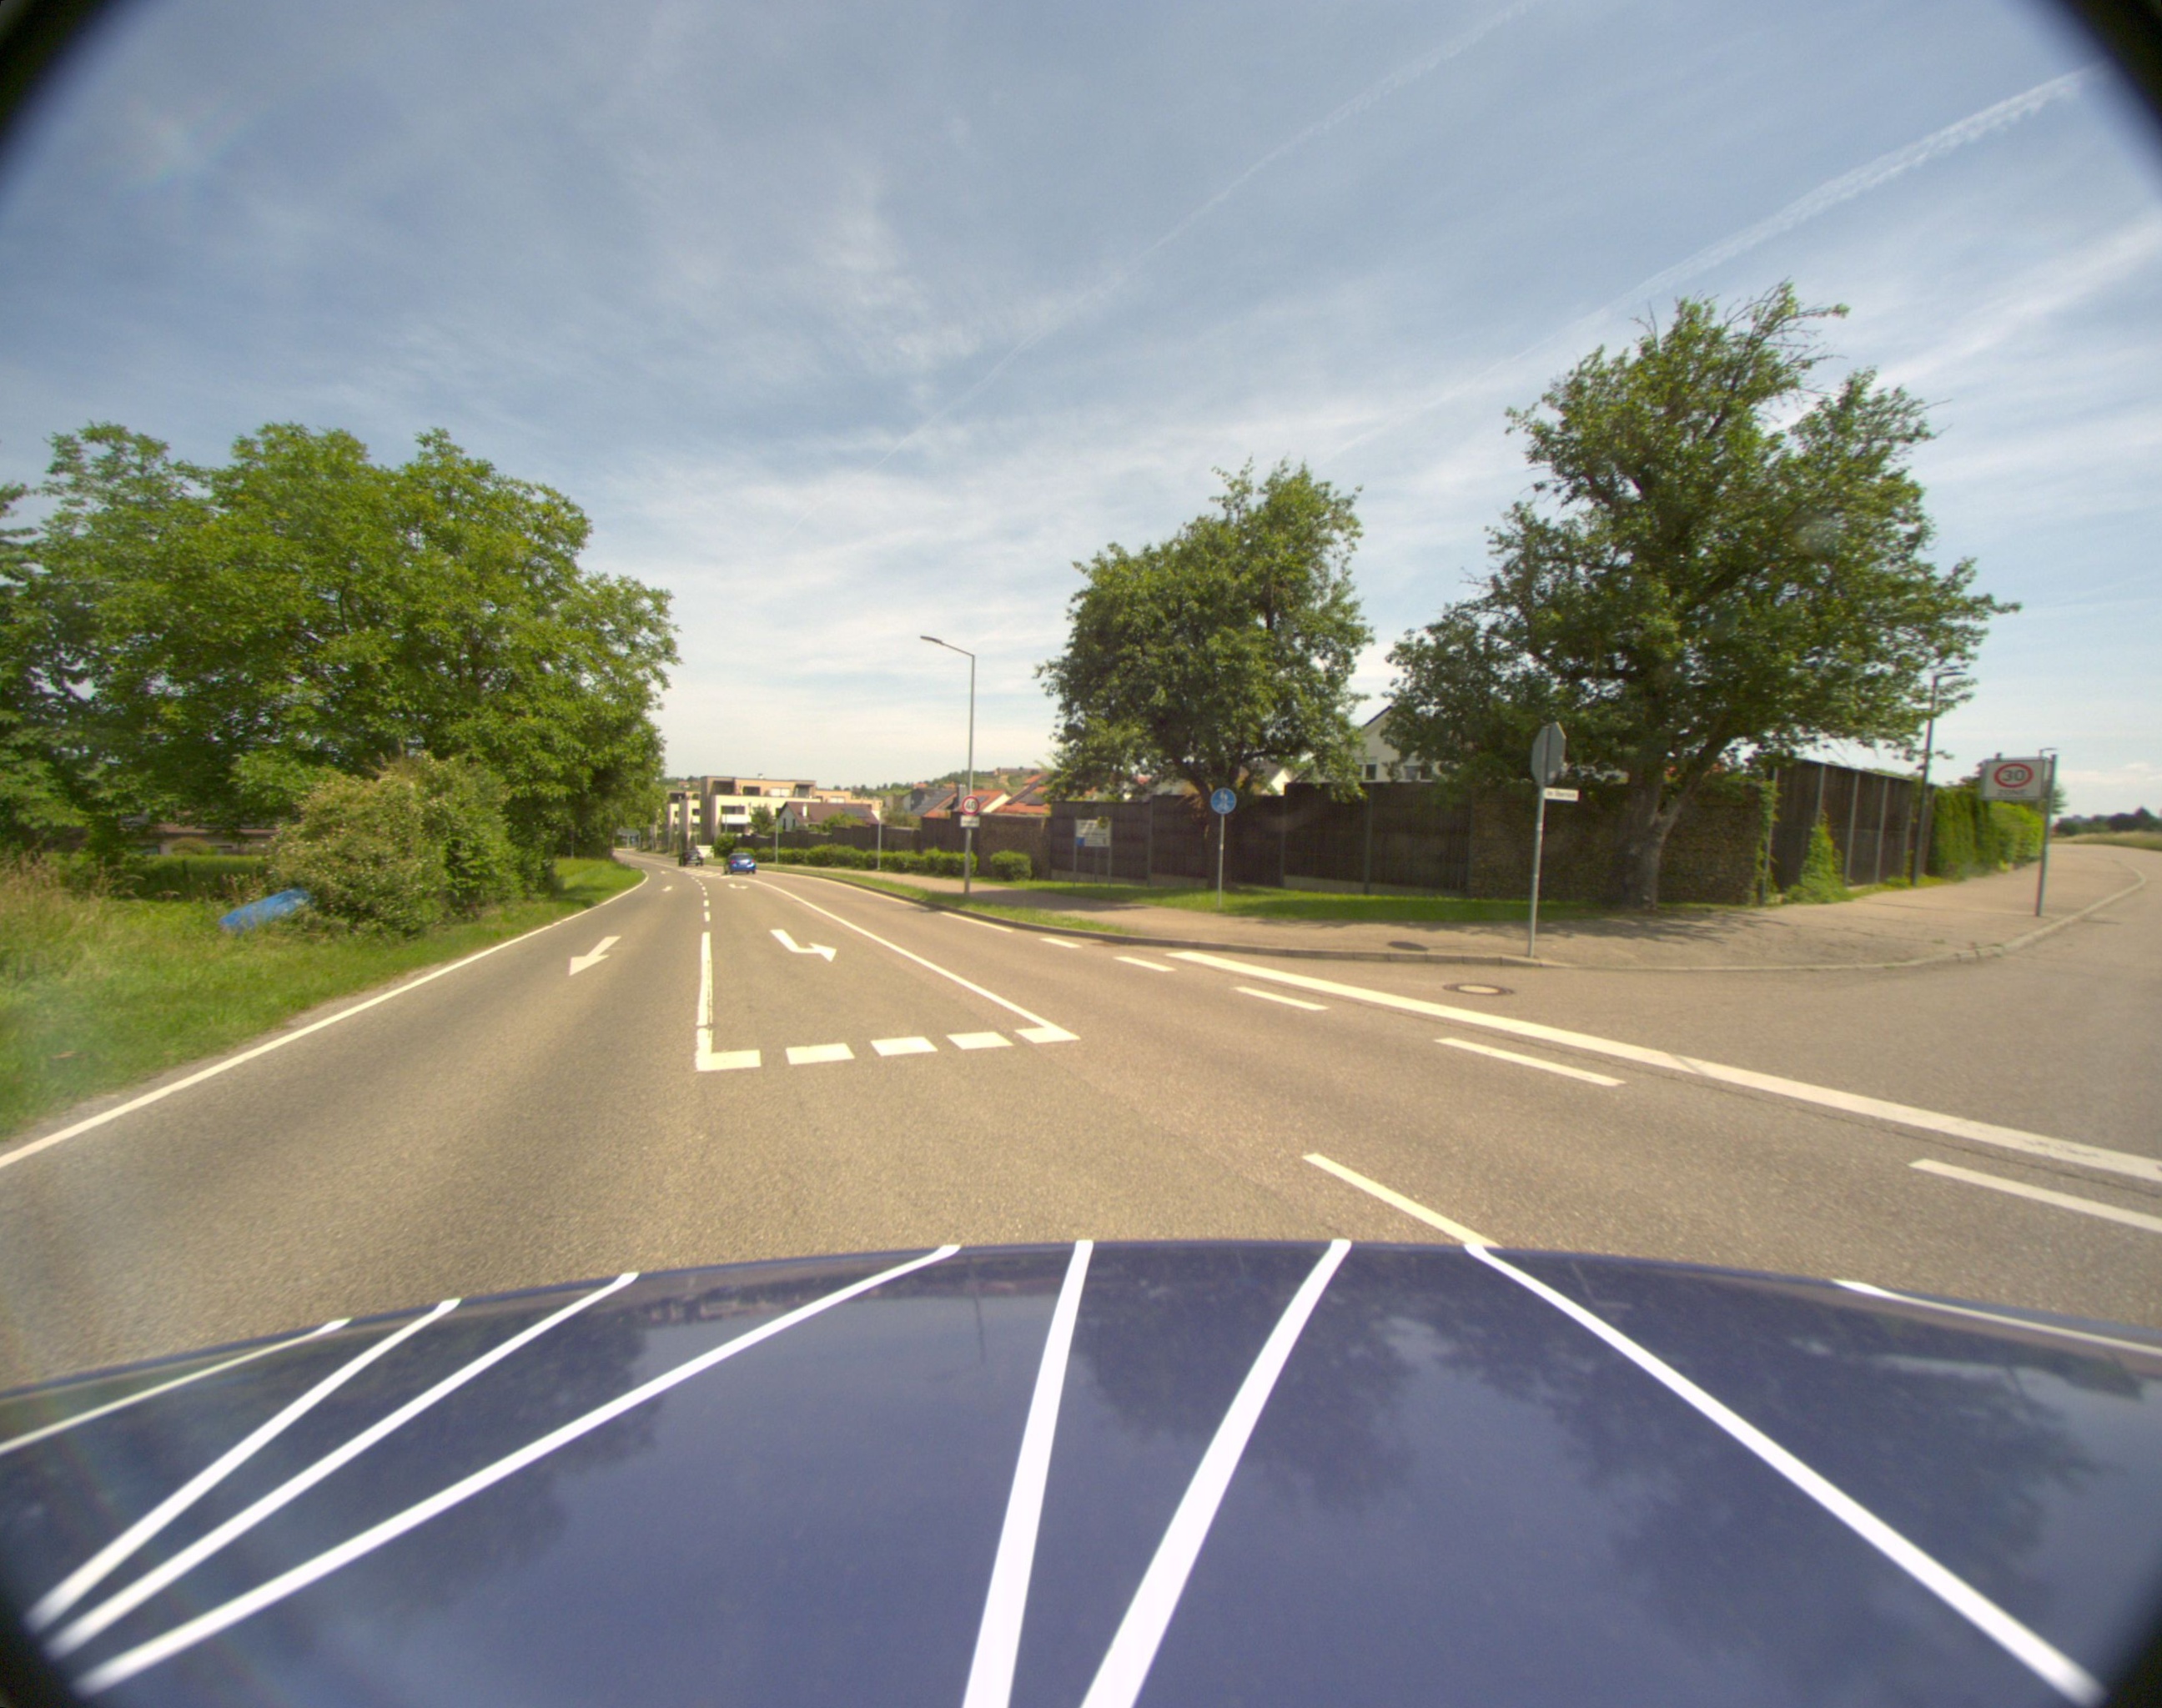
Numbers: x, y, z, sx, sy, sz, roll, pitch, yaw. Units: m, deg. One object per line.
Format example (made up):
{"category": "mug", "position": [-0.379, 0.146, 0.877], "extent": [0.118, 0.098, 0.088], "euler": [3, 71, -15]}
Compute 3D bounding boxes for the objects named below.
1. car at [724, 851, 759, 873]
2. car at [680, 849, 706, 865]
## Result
{"category": "car", "position": [-24.235, 0.557, 54.158], "extent": [1.616, 1.484, 3.838], "euler": [-3, 1, -34]}
{"category": "car", "position": [-39.793, 0.269, 77.893], "extent": [1.833, 1.572, 3.989], "euler": [0, 1, -36]}
